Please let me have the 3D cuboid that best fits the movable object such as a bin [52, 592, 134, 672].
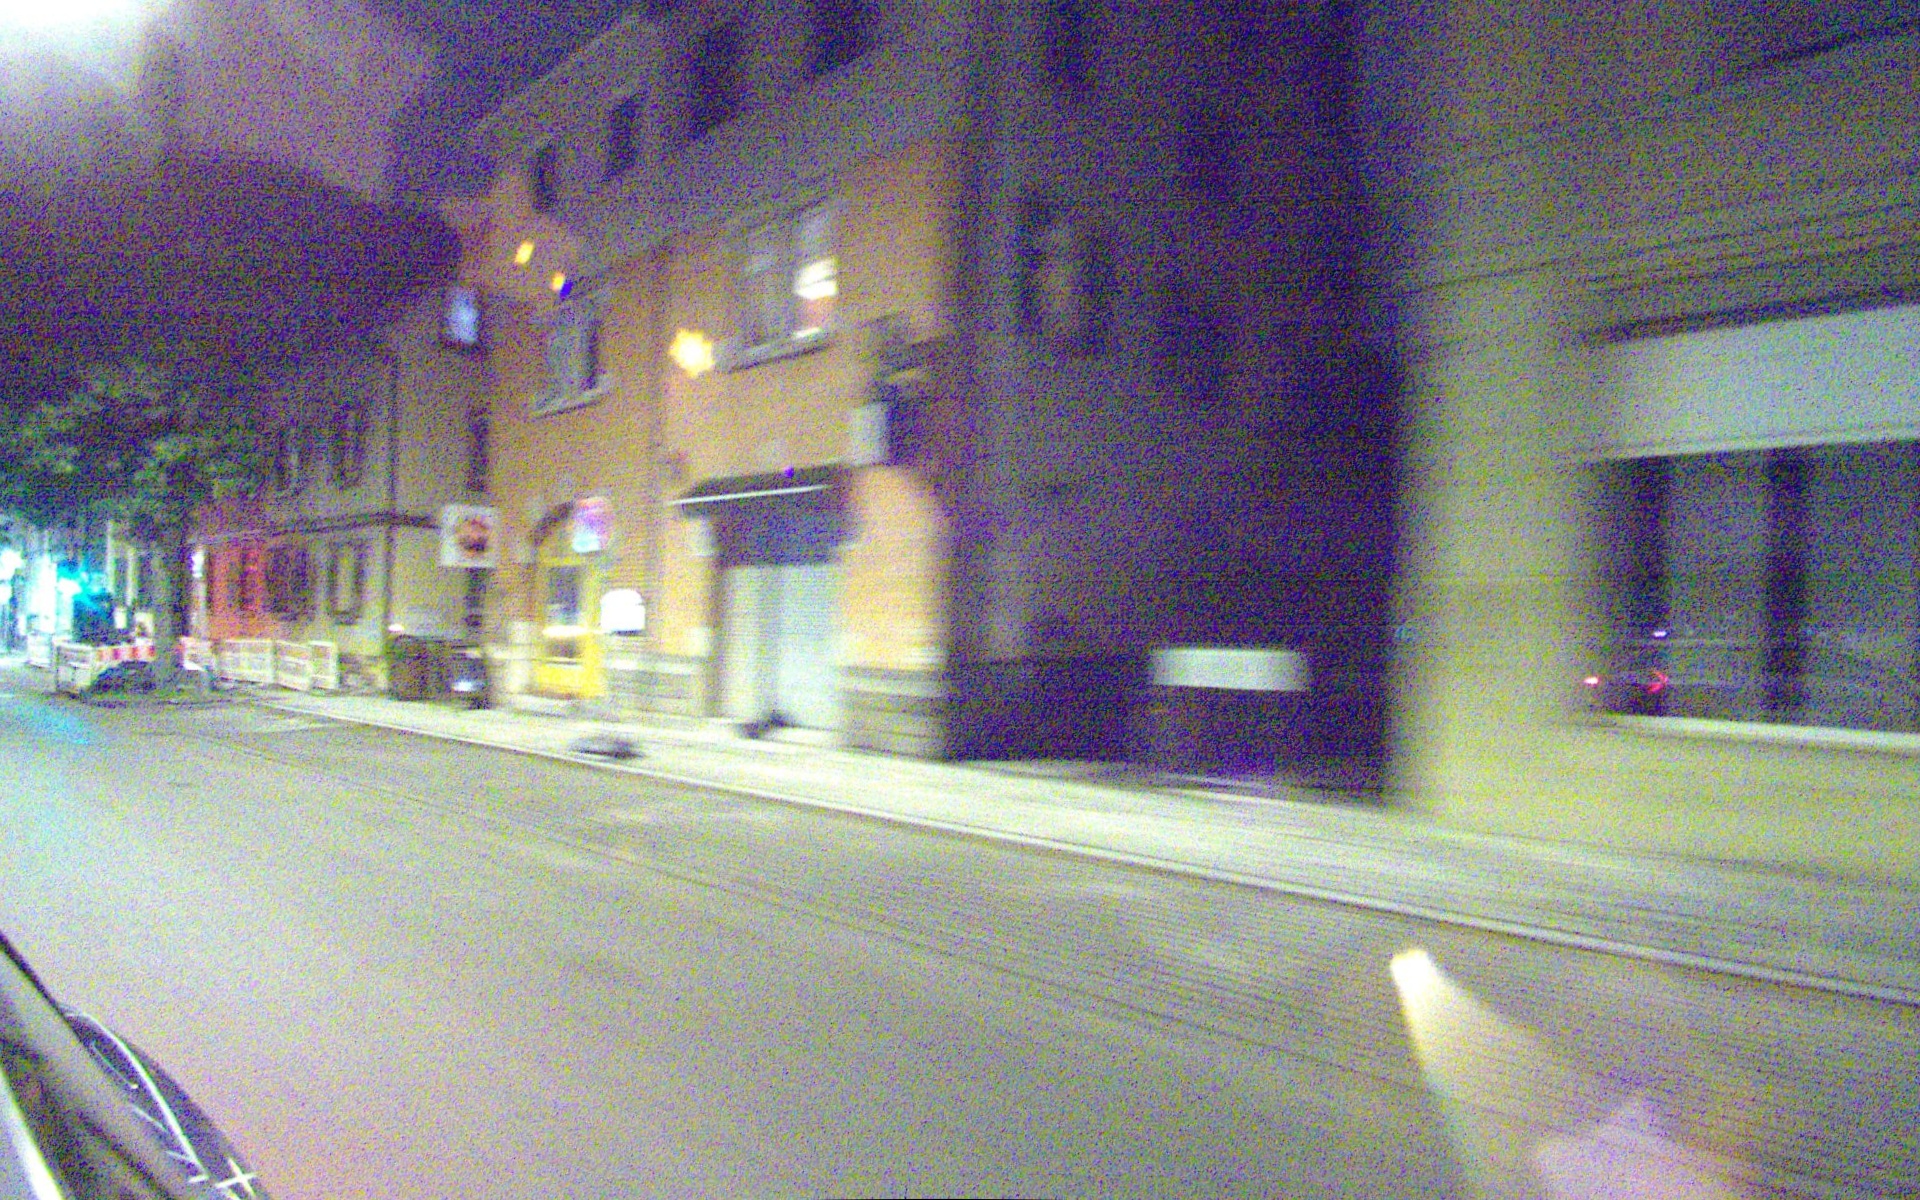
[{"bbox_3d":[-30.203,1.117,35.225,3.908,2.647,1.554,-1,-3,42],"label":"movable object such as a bin"}]
